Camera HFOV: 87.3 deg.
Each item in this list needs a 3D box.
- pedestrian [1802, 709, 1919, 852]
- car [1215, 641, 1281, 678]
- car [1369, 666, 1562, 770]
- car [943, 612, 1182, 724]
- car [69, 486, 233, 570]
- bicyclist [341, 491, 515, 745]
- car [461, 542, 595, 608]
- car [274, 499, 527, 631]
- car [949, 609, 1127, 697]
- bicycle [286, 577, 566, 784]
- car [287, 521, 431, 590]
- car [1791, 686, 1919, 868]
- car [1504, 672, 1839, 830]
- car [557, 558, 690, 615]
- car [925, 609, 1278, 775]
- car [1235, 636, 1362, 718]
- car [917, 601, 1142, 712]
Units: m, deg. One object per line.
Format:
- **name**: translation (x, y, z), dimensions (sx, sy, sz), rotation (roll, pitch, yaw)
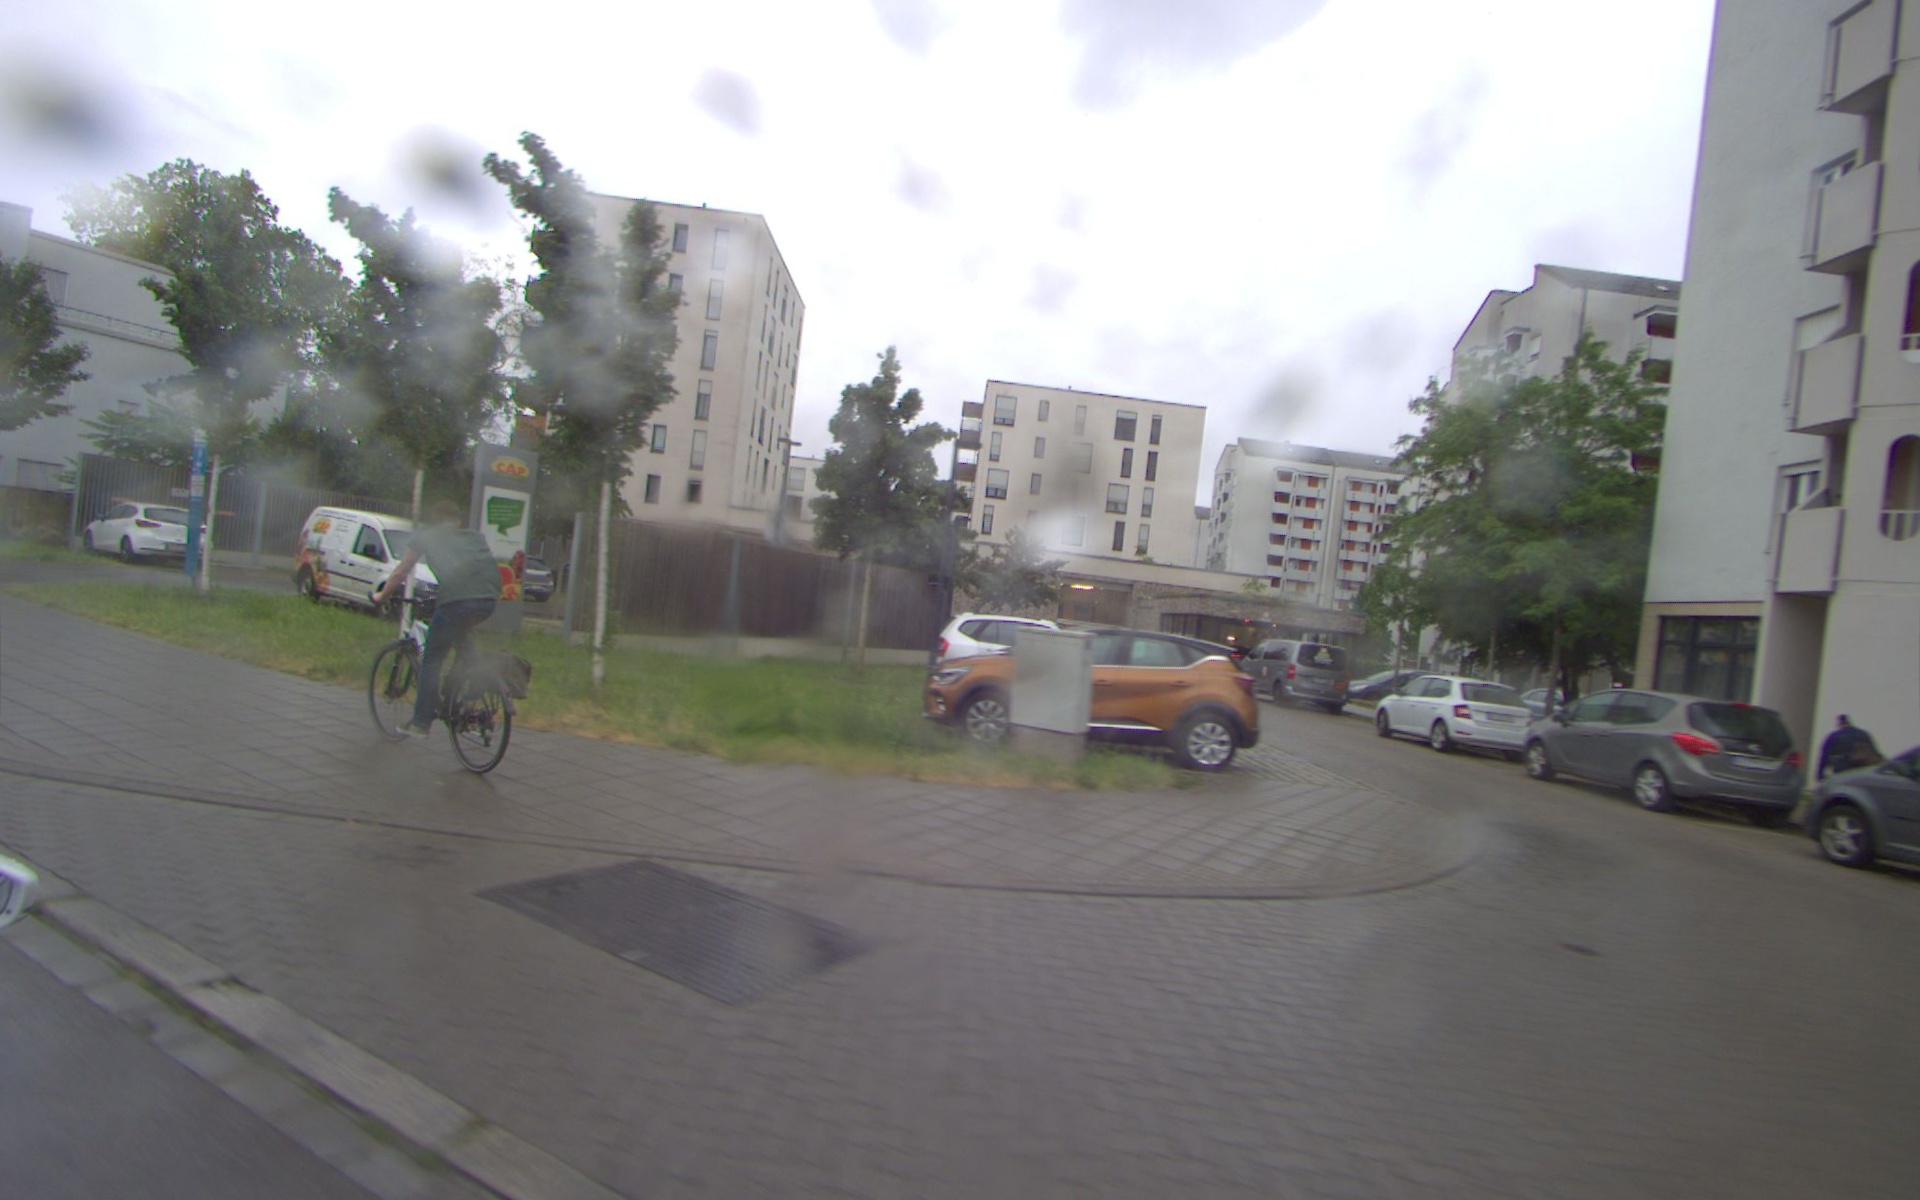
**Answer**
- **pedestrian**: translation (11.177, 2.178, 12.201), dimensions (1.074, 1.535, 0.838), rotation (6, -1, 2)
- **car**: translation (14.764, 3.017, 51.817), dimensions (1.963, 1.546, 4.001), rotation (7, -2, -2)
- **car**: translation (9.862, 2.243, 19.992), dimensions (1.782, 1.492, 3.799), rotation (8, -2, 1)
- **car**: translation (1.791, 1.189, 18.180), dimensions (3.924, 1.458, 2.001), rotation (7, -1, 3)
- **car**: translation (-20.481, -1.838, 25.437), dimensions (4.293, 1.553, 1.965), rotation (7, -1, 34)
- **bicyclist**: translation (-3.575, 0.115, 6.776), dimensions (0.758, 1.578, 0.535), rotation (6, 0, 24)
- **car**: translation (-14.274, -0.837, 33.176), dimensions (4.293, 1.553, 1.965), rotation (7, -1, 34)
- **car**: translation (-10.365, -0.678, 18.503), dimensions (4.818, 1.805, 1.965), rotation (7, 0, 34)
- **car**: translation (1.978, 1.355, 26.420), dimensions (4.285, 1.628, 1.969), rotation (8, 0, -3)
- **bicycle**: translation (-3.623, 0.500, 6.785), dimensions (1.914, 1.106, 0.538), rotation (6, -1, 25)
- **car**: translation (-17.780, -1.313, 29.743), dimensions (3.600, 1.464, 1.968), rotation (8, -1, 28)
- **car**: translation (9.925, 1.797, 8.792), dimensions (1.782, 1.635, 4.115), rotation (8, -2, 1)
- **car**: translation (9.917, 2.019, 14.507), dimensions (1.782, 1.551, 4.115), rotation (8, -2, 1)
- **car**: translation (-12.898, -0.503, 38.731), dimensions (4.281, 1.553, 1.971), rotation (8, 0, 5)
- **car**: translation (1.674, 1.094, 12.633), dimensions (3.924, 1.458, 2.001), rotation (7, -1, 3)
- **car**: translation (9.816, 2.166, 29.563), dimensions (1.959, 1.940, 4.279), rotation (8, -1, -1)
- **car**: translation (1.343, 1.131, 20.829), dimensions (4.285, 1.606, 1.969), rotation (8, 0, -3)
